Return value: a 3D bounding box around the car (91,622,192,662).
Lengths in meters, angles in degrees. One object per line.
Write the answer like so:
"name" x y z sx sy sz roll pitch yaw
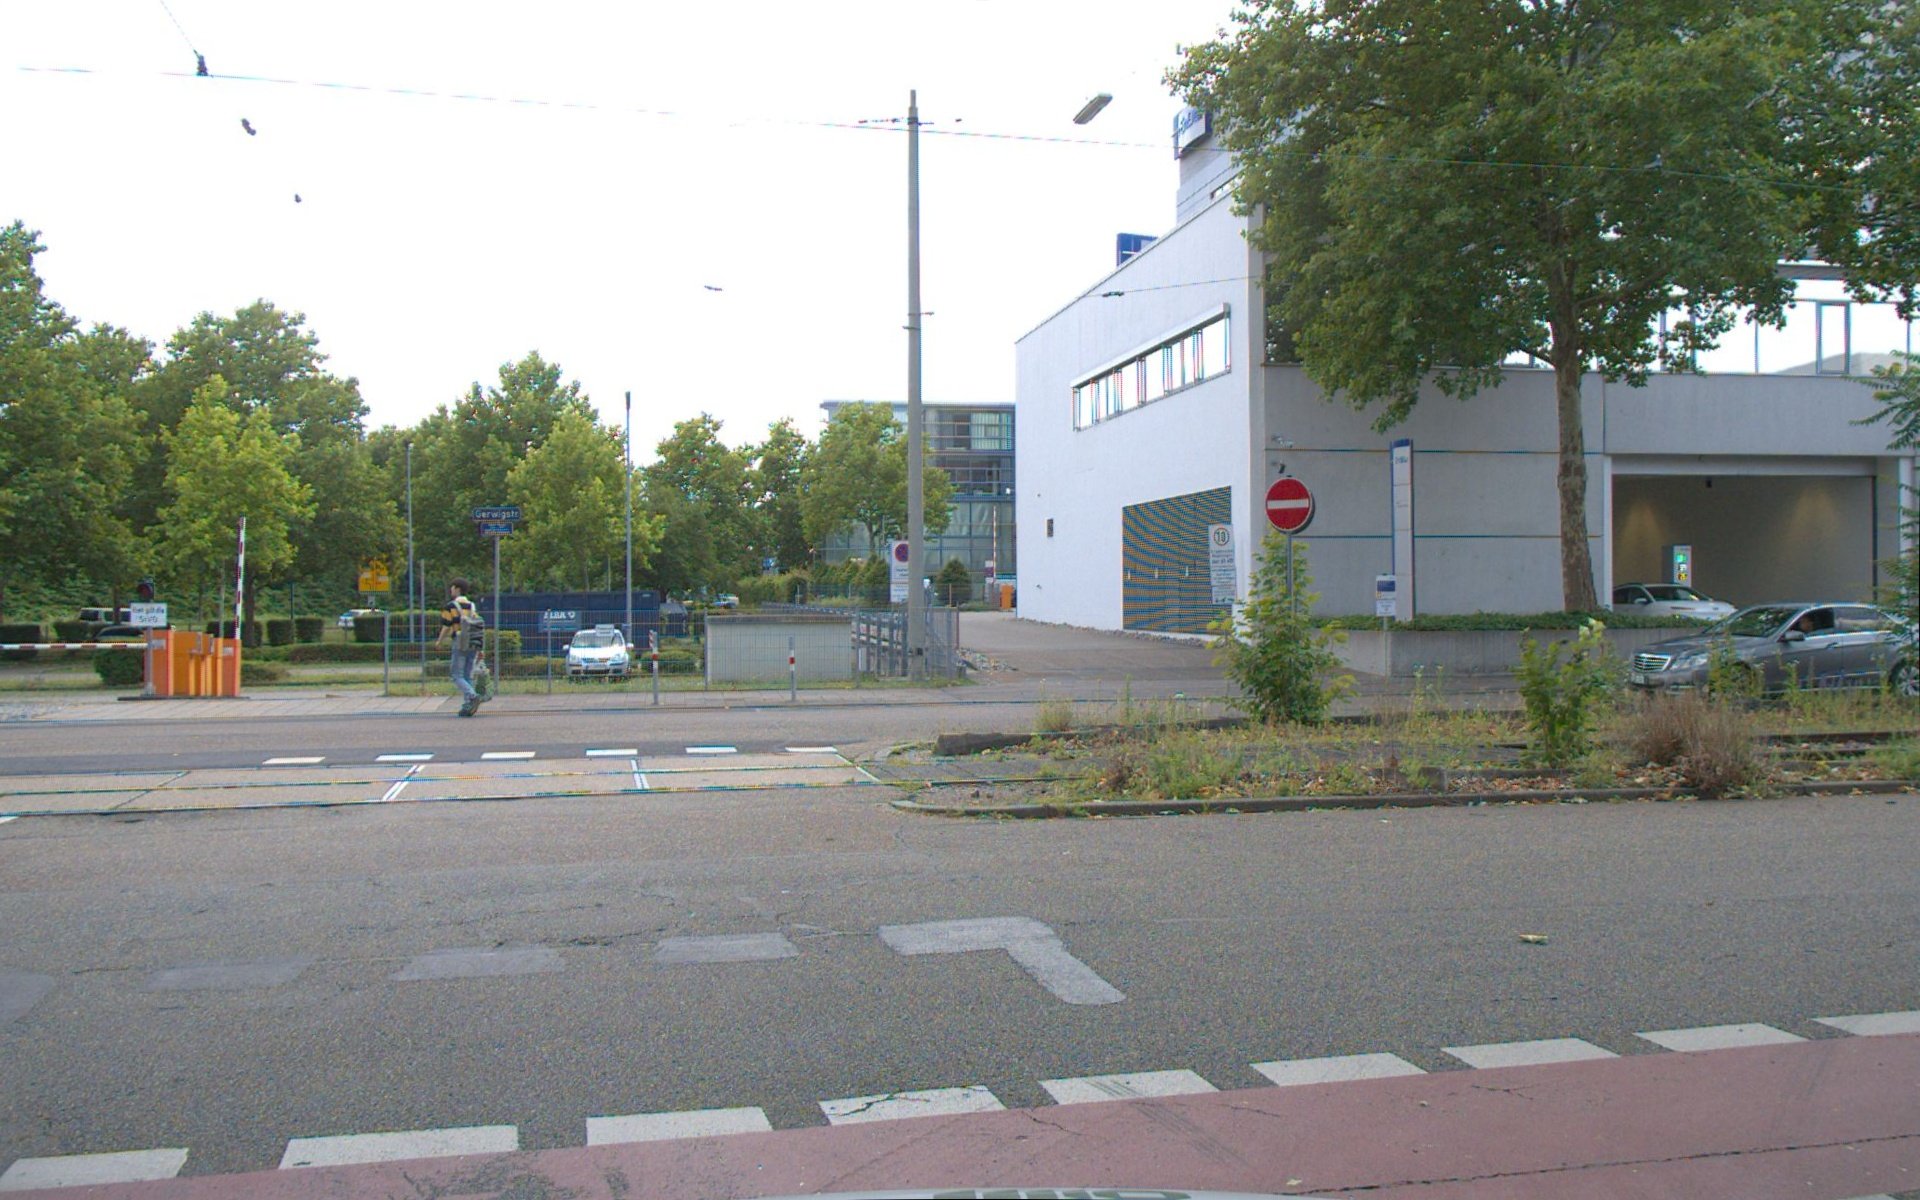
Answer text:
"car" -36.474 1.860 73.739 3.905 1.731 1.910 0 0 21

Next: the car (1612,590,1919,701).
"car" 12.131 0.611 23.898 4.864 1.456 1.768 -1 0 -11

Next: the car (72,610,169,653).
"car" -44.873 1.661 88.506 1.817 2.173 4.570 0 0 21

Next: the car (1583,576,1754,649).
"car" 16.618 0.280 39.037 1.794 1.606 4.038 -1 0 -10

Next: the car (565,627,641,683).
"car" -10.032 1.523 46.676 1.896 1.427 4.071 -1 0 -10

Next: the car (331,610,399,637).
"car" -39.269 1.528 109.212 1.875 1.751 4.300 0 0 22

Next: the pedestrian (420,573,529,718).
"pedestrian" -6.504 0.587 22.137 0.995 1.881 1.211 0 0 -42
